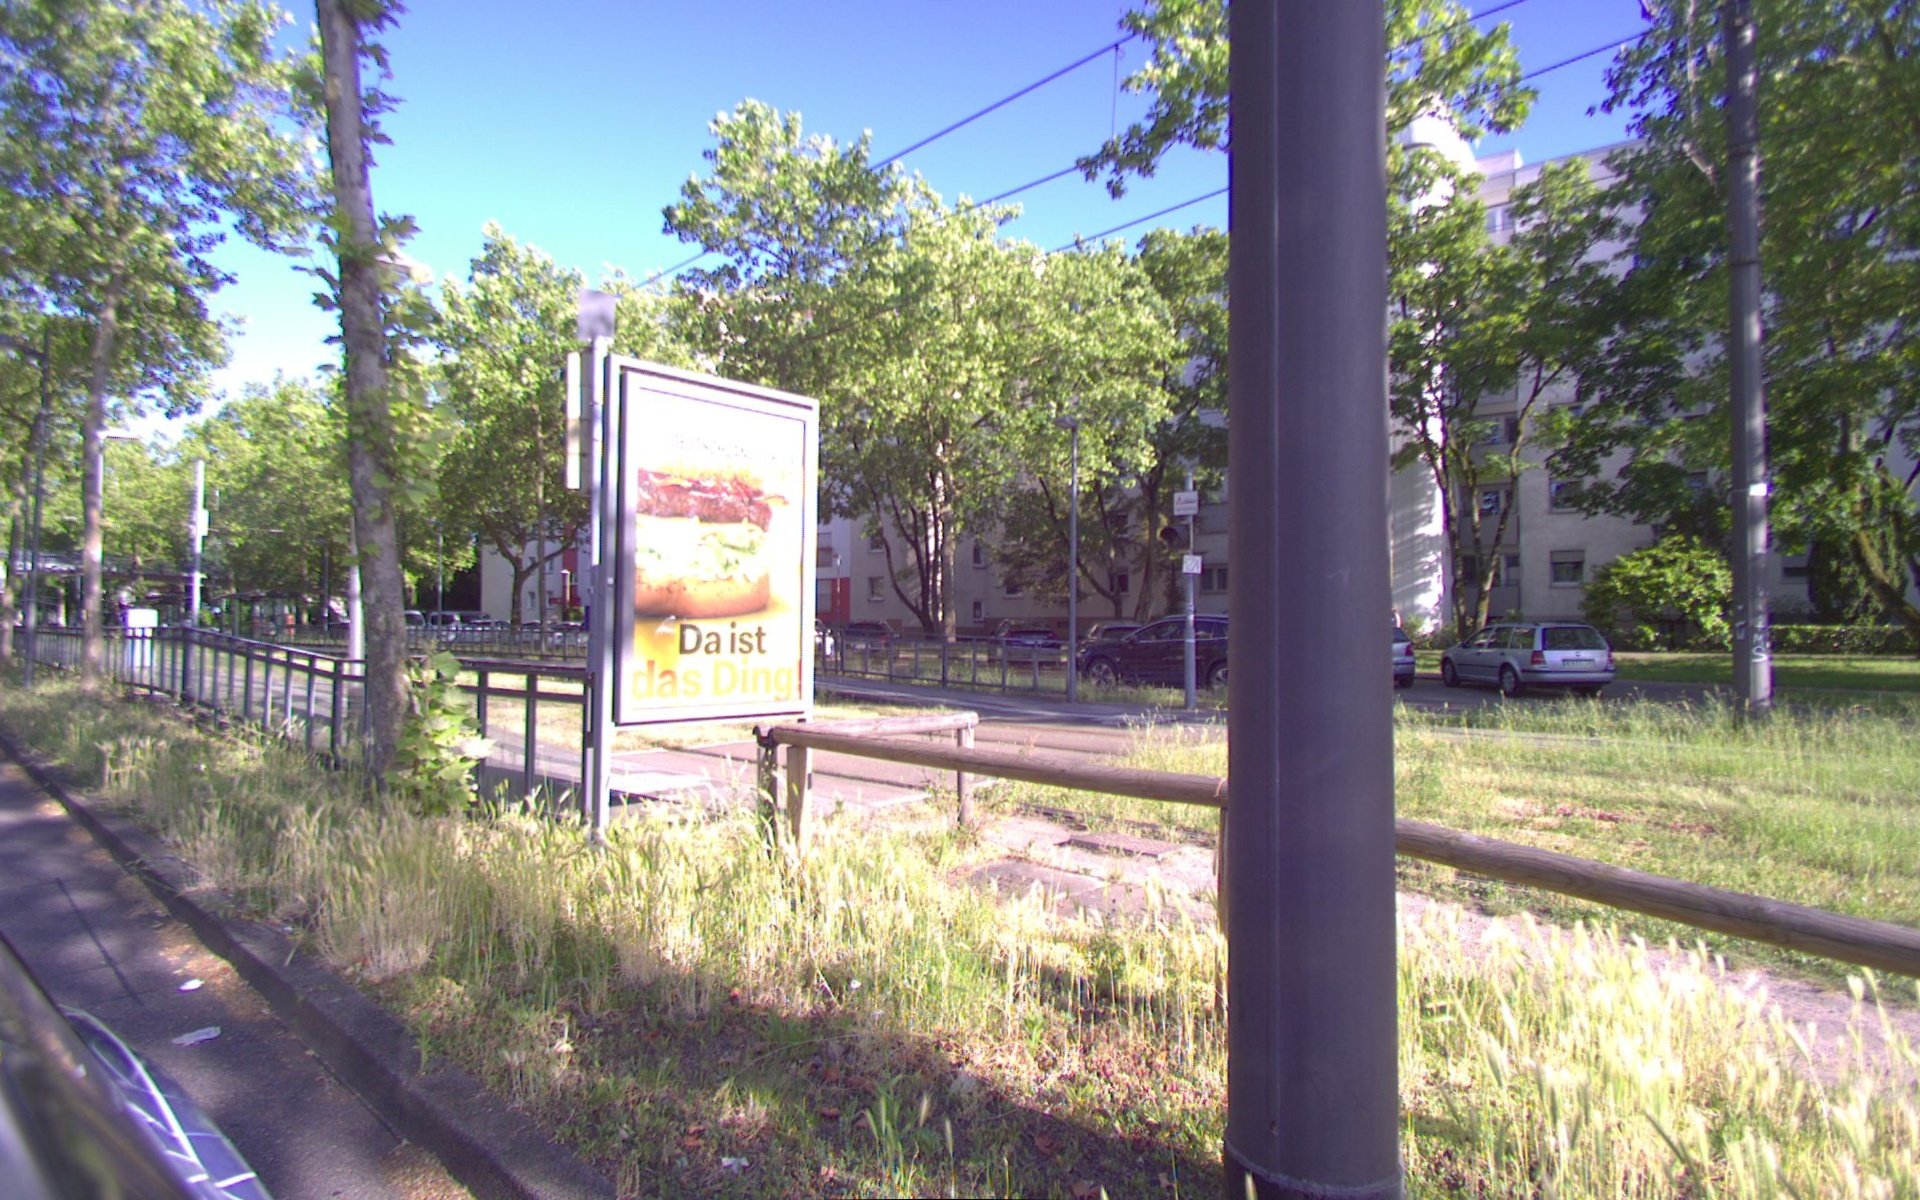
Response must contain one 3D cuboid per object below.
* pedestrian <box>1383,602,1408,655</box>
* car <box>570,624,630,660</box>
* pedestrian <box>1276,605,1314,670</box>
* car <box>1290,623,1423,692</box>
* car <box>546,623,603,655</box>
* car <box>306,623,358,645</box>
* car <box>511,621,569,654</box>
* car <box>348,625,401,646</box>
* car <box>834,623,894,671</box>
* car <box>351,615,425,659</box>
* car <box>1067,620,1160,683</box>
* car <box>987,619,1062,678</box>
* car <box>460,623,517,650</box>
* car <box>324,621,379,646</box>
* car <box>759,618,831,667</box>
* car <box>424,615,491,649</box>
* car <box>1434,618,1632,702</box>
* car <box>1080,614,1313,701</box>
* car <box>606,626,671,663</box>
[{"bbox_3d":[14.689,0.954,34.166,0.634,1.770,0.516,-1,-2,39],"label":"pedestrian"},{"bbox_3d":[-16.683,1.916,47.005,1.445,1.519,3.393,-1,0,3],"label":"car"},{"bbox_3d":[9.297,1.032,28.060,0.755,1.770,0.752,-2,-2,41],"label":"pedestrian"},{"bbox_3d":[9.101,1.267,23.523,1.553,1.431,3.620,-1,-1,-1],"label":"car"},{"bbox_3d":[-18.761,1.887,49.411,1.459,1.339,3.488,-2,0,-1],"label":"car"},{"bbox_3d":[-44.962,2.400,72.584,1.578,1.538,3.737,0,-1,-3],"label":"car"},{"bbox_3d":[-21.171,1.865,51.092,1.539,1.436,3.489,-3,0,-2],"label":"car"},{"bbox_3d":[-37.943,2.295,65.650,1.459,1.330,3.488,0,-1,-1],"label":"car"},{"bbox_3d":[-3.235,1.563,34.710,1.538,1.439,3.761,-1,0,3],"label":"car"},{"bbox_3d":[-27.426,1.746,48.491,4.652,2.007,1.772,-1,-2,43],"label":"car"},{"bbox_3d":[4.105,1.345,27.717,1.650,1.469,4.004,-1,0,-4],"label":"car"},{"bbox_3d":[1.824,1.366,29.823,1.669,1.499,4.003,-1,0,-4],"label":"car"},{"bbox_3d":[-25.825,1.958,55.542,1.605,1.414,3.488,0,-1,-1],"label":"car"},{"bbox_3d":[-40.796,2.230,67.945,1.578,1.582,3.830,0,-1,-3],"label":"car"},{"bbox_3d":[-5.986,1.512,37.082,1.791,1.607,3.997,-1,0,3],"label":"car"},{"bbox_3d":[-28.267,1.782,57.063,1.843,1.826,4.048,0,-1,-1],"label":"car"},{"bbox_3d":[11.551,1.147,20.744,1.685,1.454,3.978,-1,0,-2],"label":"car"},{"bbox_3d":[4.545,1.060,19.779,4.100,1.523,1.746,-1,-2,41],"label":"car"},{"bbox_3d":[-14.082,1.921,44.480,1.470,1.425,3.880,-1,0,3],"label":"car"}]
